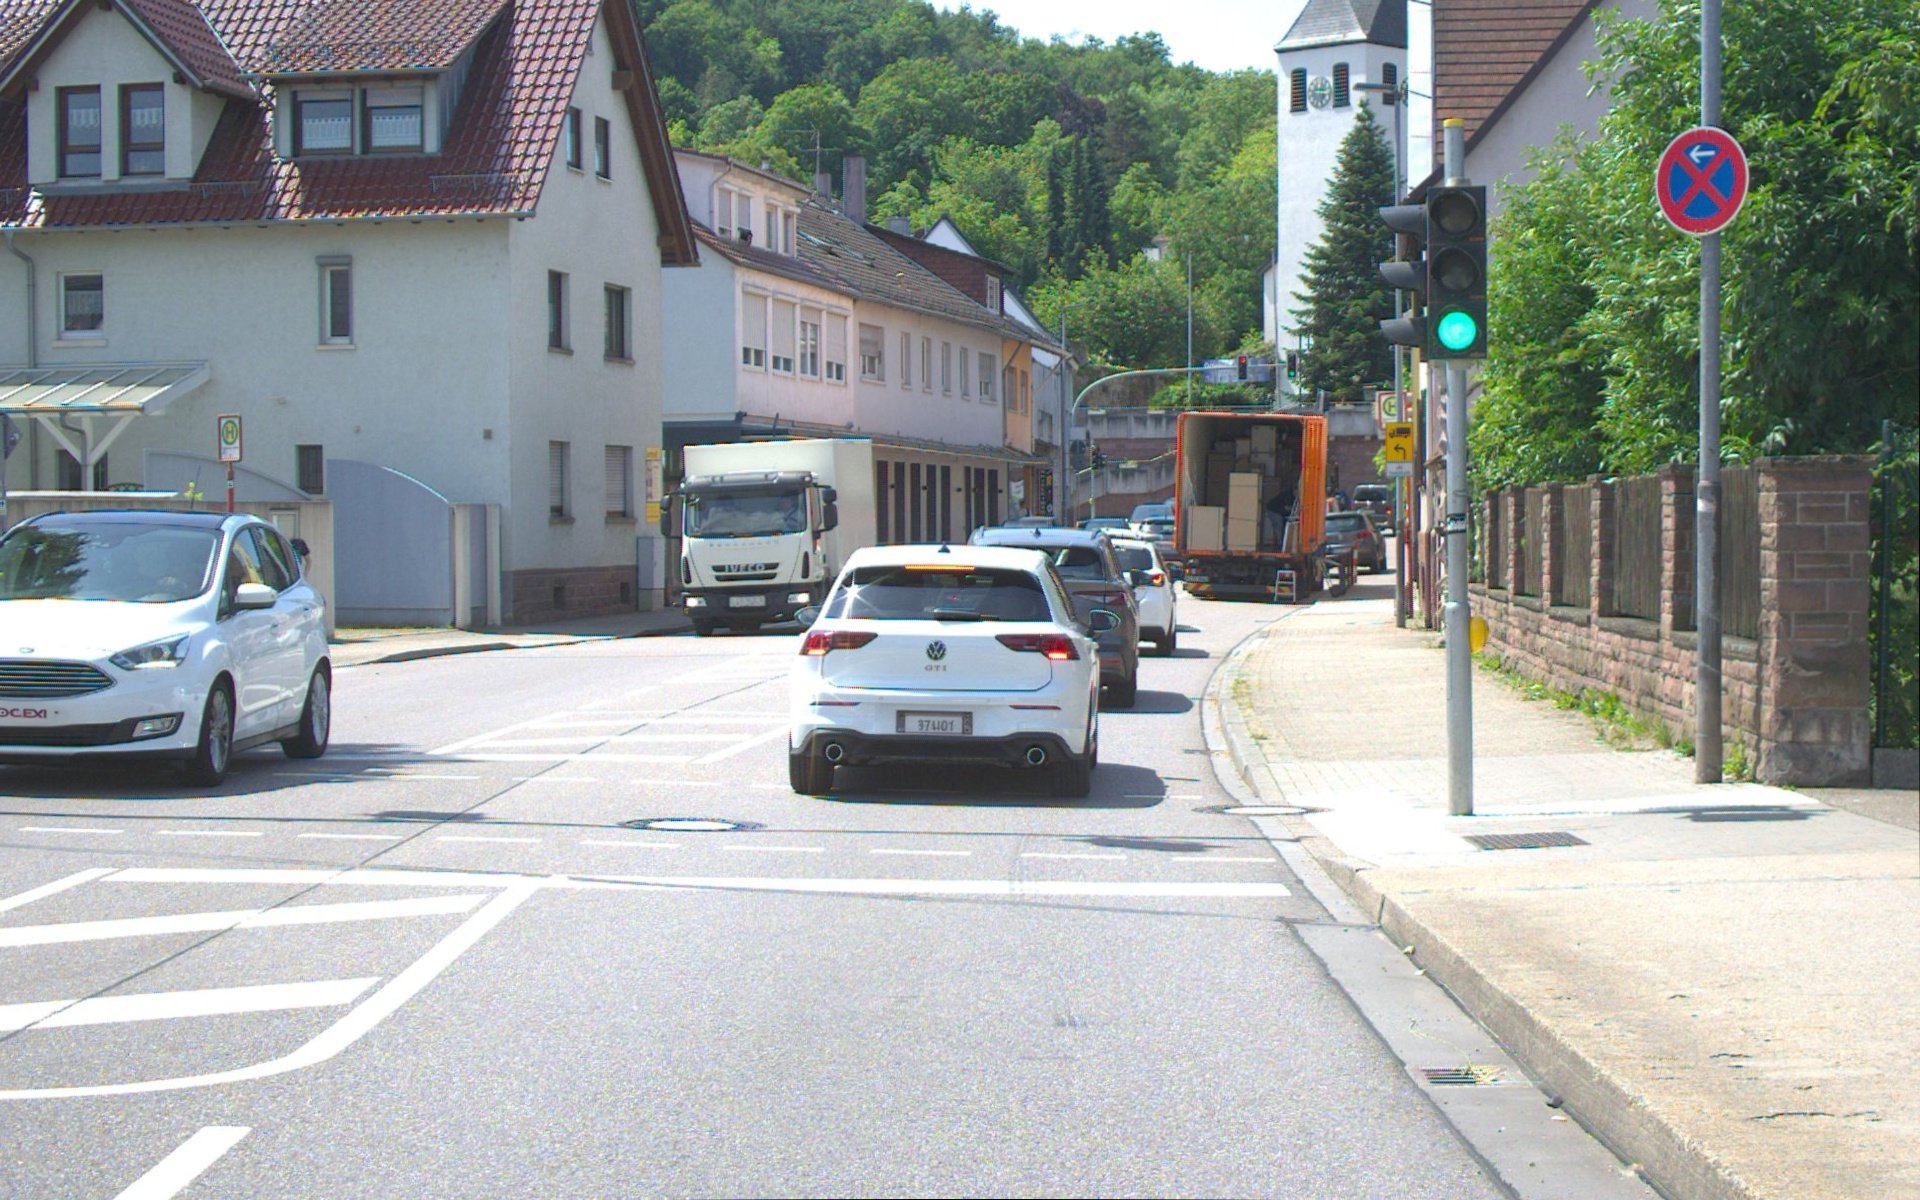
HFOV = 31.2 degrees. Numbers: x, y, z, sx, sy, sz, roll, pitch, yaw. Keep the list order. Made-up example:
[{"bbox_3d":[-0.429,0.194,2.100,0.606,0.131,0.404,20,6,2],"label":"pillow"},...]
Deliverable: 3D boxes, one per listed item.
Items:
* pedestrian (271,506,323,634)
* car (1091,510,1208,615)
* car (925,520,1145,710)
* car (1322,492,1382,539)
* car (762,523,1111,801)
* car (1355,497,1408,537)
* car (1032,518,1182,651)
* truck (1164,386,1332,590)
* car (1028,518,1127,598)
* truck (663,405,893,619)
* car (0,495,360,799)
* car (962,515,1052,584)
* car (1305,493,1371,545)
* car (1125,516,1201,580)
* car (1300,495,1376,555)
[{"bbox_3d":[-9.126,-0.418,47.328,0.434,1.758,0.556,0,1,23],"label":"pedestrian"},{"bbox_3d":[3.137,-0.610,56.323,1.815,1.623,4.000,-1,1,4],"label":"car"},{"bbox_3d":[0.761,0.109,31.973,1.815,1.623,4.000,-1,1,4],"label":"car"},{"bbox_3d":[13.401,-2.873,117.650,1.815,1.514,4.000,-1,1,4],"label":"car"},{"bbox_3d":[-0.048,0.319,21.157,1.815,1.514,4.000,1,1,4],"label":"car"},{"bbox_3d":[16.497,-3.238,134.577,1.815,1.514,4.000,-1,1,4],"label":"car"},{"bbox_3d":[1.958,-0.217,44.867,1.815,1.623,4.000,-1,1,4],"label":"car"},{"bbox_3d":[6.491,-2.387,76.111,3.368,4.155,9.517,-1,1,6],"label":"truck"},{"bbox_3d":[2.382,-0.838,68.851,1.815,1.514,4.000,-1,1,4],"label":"car"},{"bbox_3d":[-2.867,-1.390,55.849,2.503,3.224,6.038,-1,1,9],"label":"truck"},{"bbox_3d":[-5.027,0.223,20.824,1.815,1.644,4.000,1,1,4],"label":"car"},{"bbox_3d":[1.169,-1.256,83.814,1.739,1.645,3.667,0,1,8],"label":"car"},{"bbox_3d":[11.581,-2.478,105.540,1.815,1.514,4.000,-1,1,4],"label":"car"},{"bbox_3d":[5.085,-1.299,85.691,1.815,1.514,4.000,-1,1,4],"label":"car"},{"bbox_3d":[9.975,-1.961,90.981,1.815,1.514,4.000,-1,1,4],"label":"car"}]
